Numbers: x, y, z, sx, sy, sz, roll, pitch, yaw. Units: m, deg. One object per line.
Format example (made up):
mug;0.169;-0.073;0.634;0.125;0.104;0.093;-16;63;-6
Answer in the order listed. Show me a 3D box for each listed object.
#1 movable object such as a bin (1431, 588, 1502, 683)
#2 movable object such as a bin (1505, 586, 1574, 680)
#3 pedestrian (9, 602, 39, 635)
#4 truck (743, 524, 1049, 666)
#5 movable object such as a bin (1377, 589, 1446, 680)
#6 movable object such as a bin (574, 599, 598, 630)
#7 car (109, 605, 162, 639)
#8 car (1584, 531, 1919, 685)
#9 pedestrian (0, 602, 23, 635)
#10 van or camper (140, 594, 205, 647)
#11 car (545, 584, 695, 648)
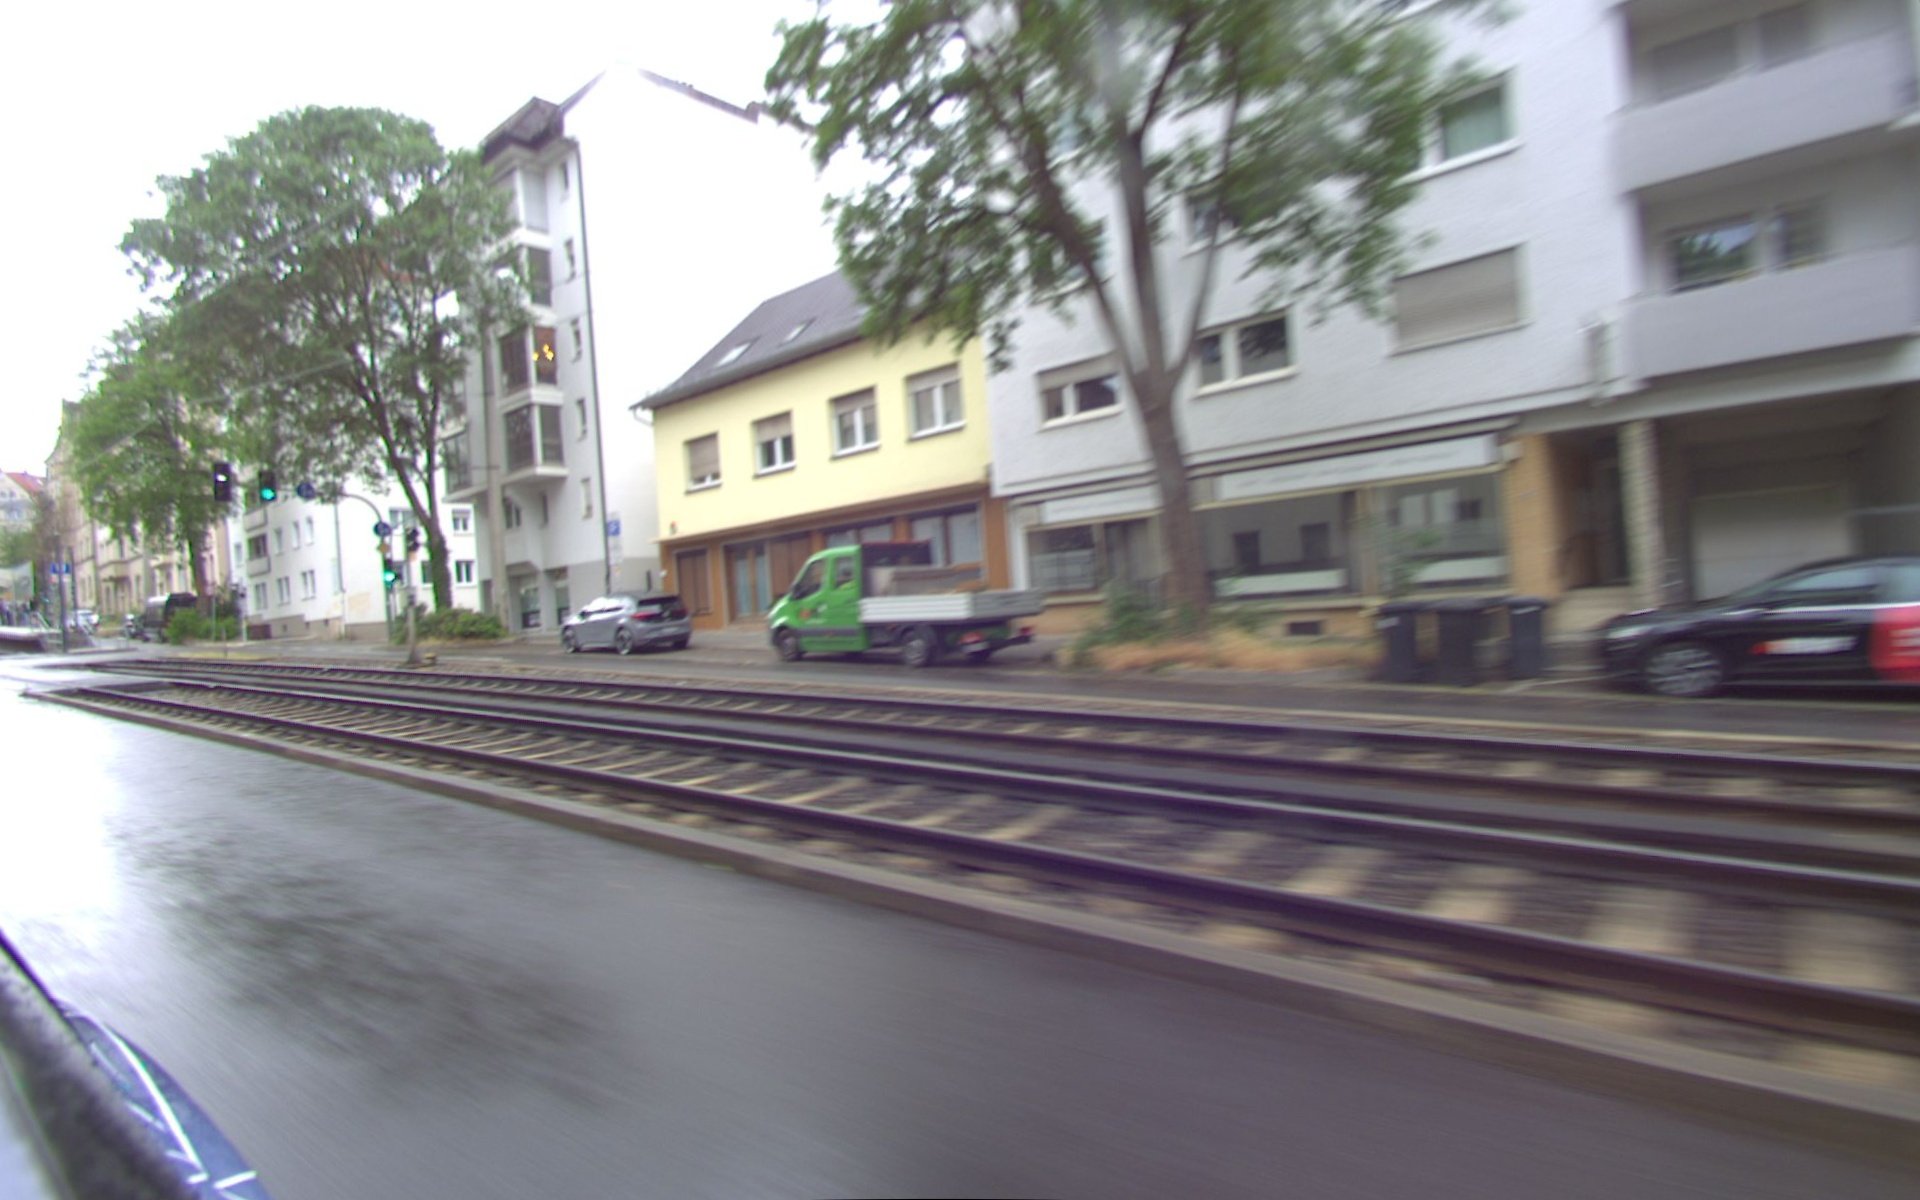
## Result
movable object such as a bin;6.322;0.434;12.624;0.670;1.130;0.718;-2;0;35
movable object such as a bin;7.316;0.401;12.775;0.670;1.130;0.718;-2;0;35
pedestrian;-52.613;1.038;56.887;0.965;1.796;1.106;-2;1;40
truck;-1.456;-0.120;19.828;6.352;2.363;2.168;0;2;43
movable object such as a bin;5.870;0.439;13.145;0.670;1.130;0.718;-2;0;35
movable object such as a bin;-12.531;0.495;33.924;0.644;1.022;0.434;-2;1;39
car;-52.443;1.394;64.381;3.999;2.028;1.972;-1;1;42
car;9.253;0.047;10.537;4.465;1.451;1.887;-2;1;40
pedestrian;-56.397;1.094;60.138;0.860;1.865;0.892;-2;1;42
van or camper;-45.219;1.177;58.073;5.211;2.819;1.973;-2;0;42
car;-8.977;0.422;26.580;4.358;1.470;1.687;-1;3;41
